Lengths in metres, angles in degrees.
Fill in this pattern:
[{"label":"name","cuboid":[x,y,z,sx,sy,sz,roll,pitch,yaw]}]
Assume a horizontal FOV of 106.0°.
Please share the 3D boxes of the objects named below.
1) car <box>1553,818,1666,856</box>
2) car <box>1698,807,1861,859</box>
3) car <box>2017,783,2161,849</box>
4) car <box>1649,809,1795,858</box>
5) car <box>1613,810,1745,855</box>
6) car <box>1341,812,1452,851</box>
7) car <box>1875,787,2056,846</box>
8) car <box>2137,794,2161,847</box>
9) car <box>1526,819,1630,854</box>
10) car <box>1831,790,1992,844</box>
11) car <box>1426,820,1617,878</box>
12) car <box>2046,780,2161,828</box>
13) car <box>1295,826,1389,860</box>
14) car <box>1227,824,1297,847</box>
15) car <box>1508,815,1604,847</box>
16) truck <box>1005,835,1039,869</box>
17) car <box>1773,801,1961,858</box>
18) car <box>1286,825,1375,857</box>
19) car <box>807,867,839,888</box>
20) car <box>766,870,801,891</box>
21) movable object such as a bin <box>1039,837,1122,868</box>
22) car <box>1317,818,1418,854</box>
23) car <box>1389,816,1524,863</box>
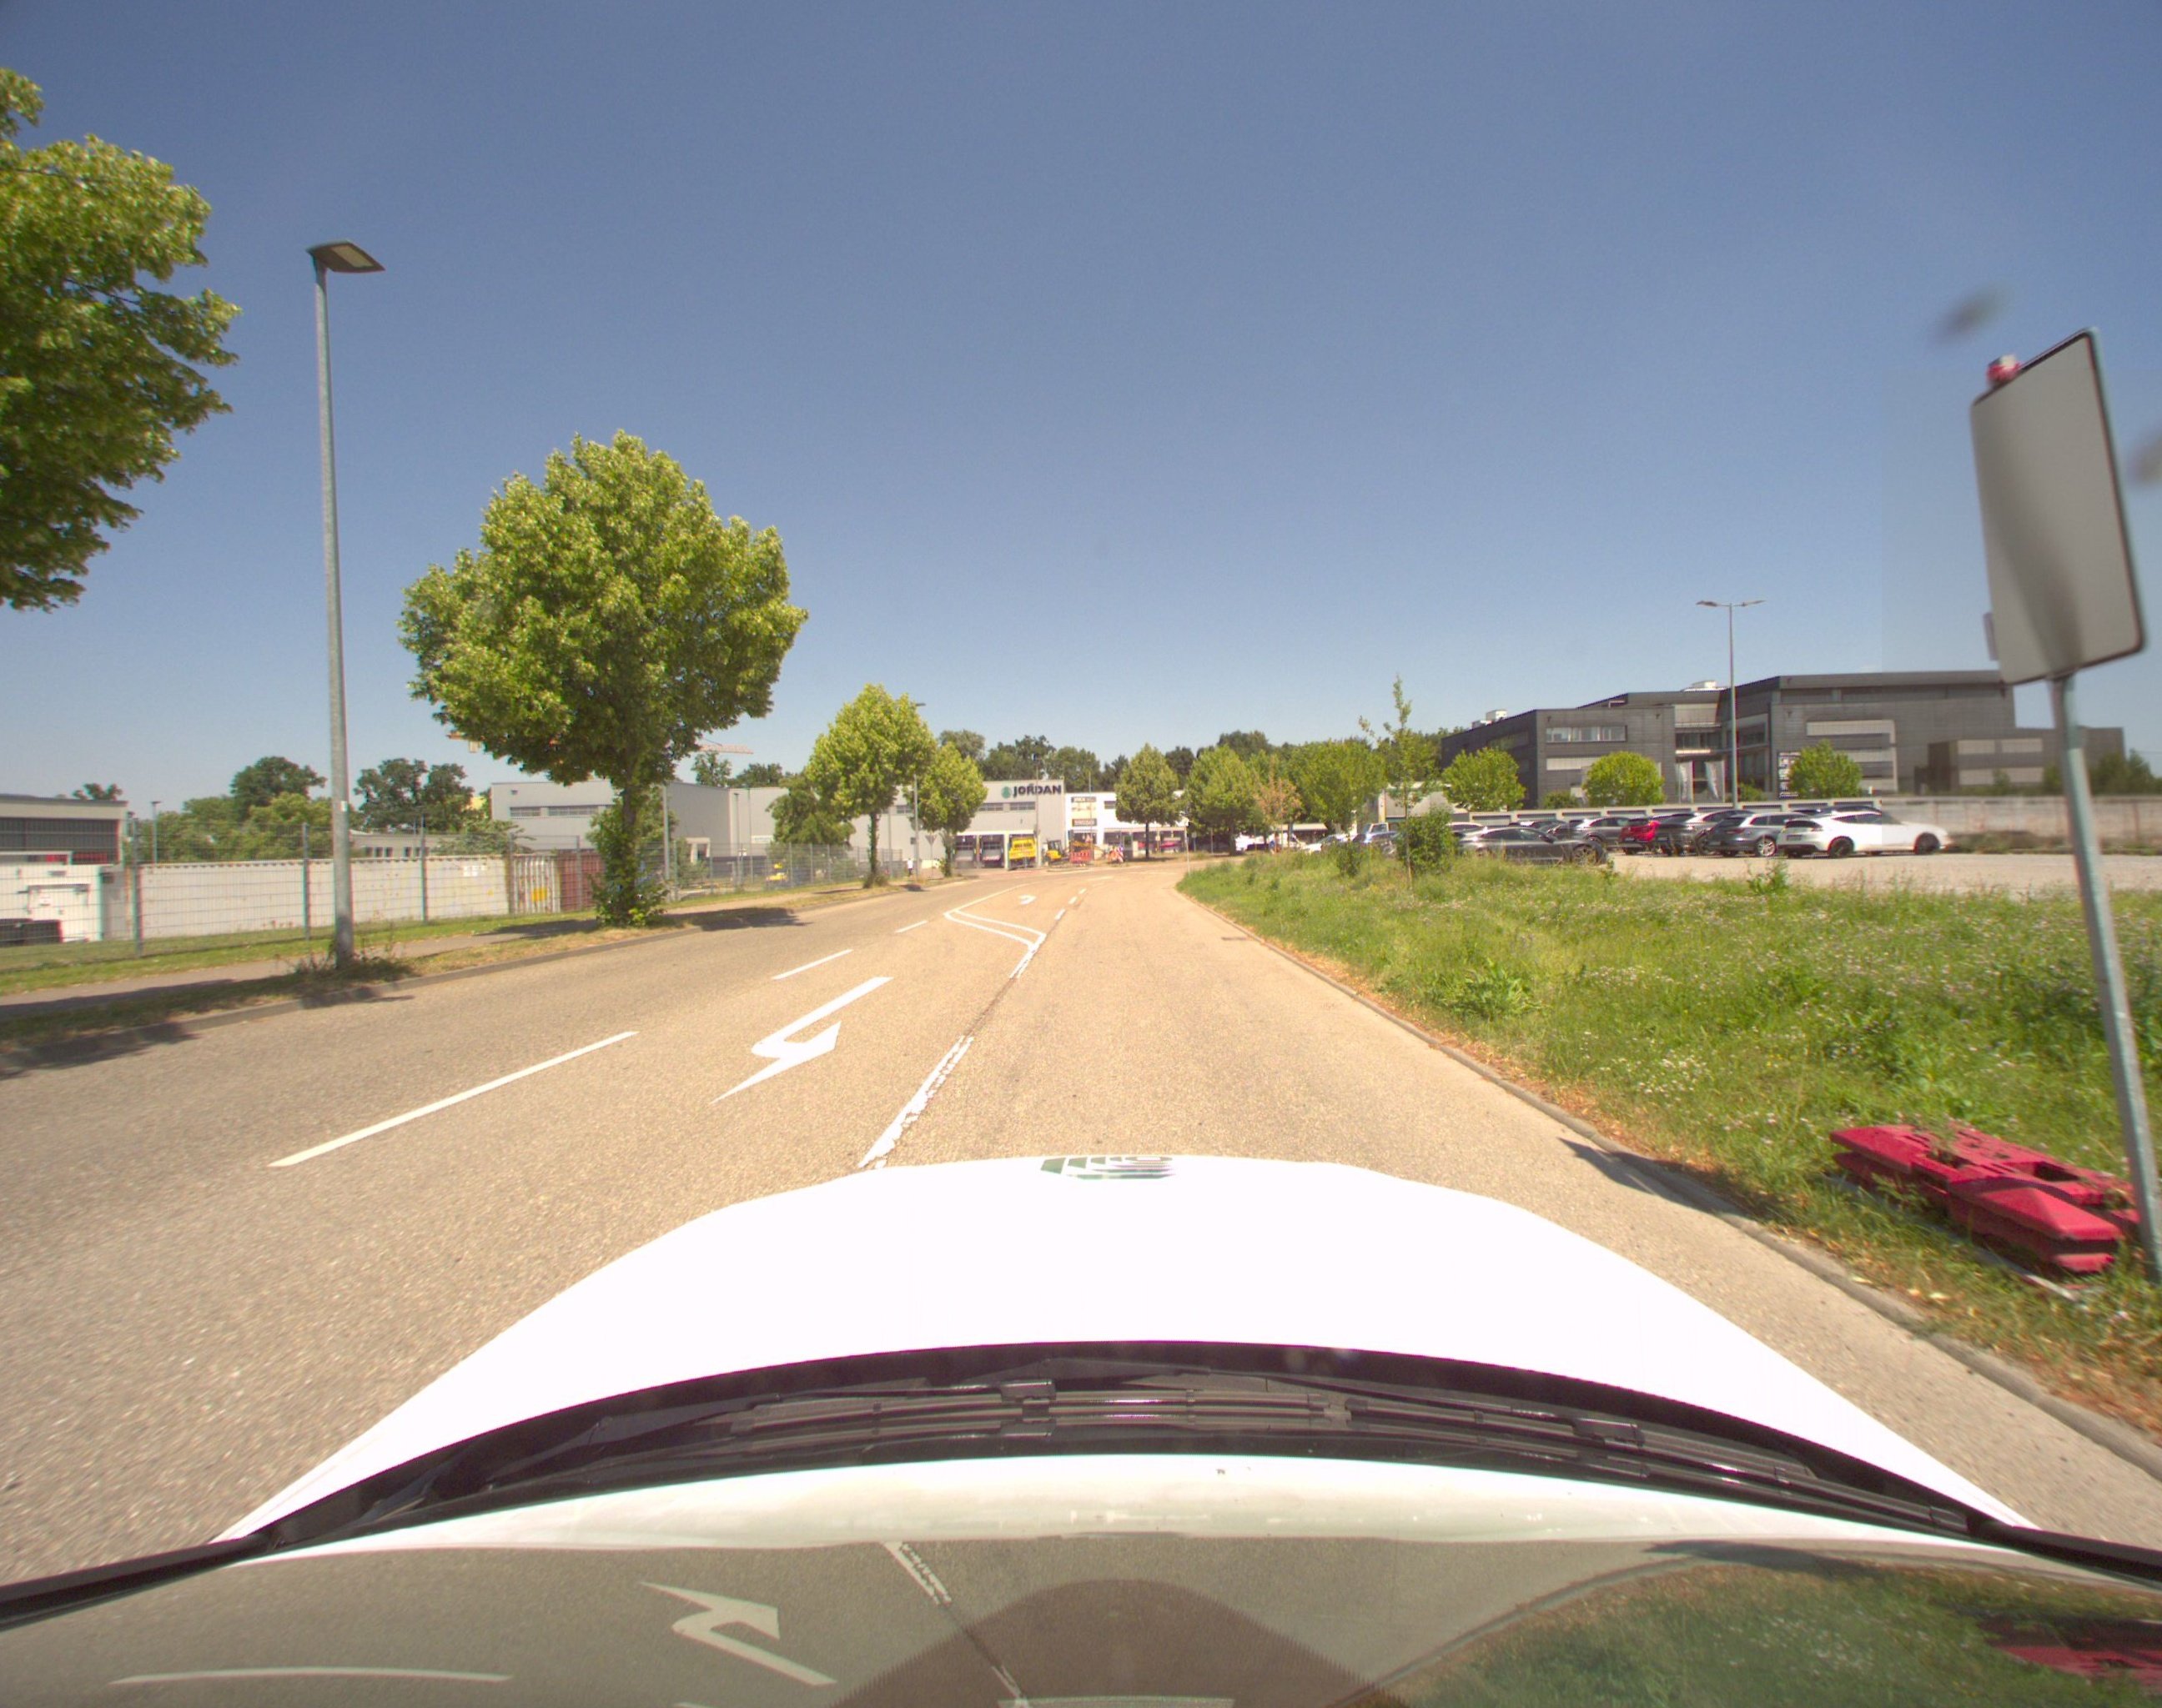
[{"label":"car","cuboid":[23.624,-0.775,36.485,3.977,1.400,1.768,-3,4,-2]},{"label":"car","cuboid":[22.954,-0.719,26.857,3.977,1.400,1.768,-3,4,-2]},{"label":"car","cuboid":[29.138,-1.096,22.790,3.977,1.595,1.768,-3,4,-2]},{"label":"car","cuboid":[23.110,-0.784,29.468,3.977,1.489,1.768,-3,4,-2]},{"label":"car","cuboid":[23.666,-0.878,32.313,3.977,1.461,1.768,-3,4,-2]},{"label":"car","cuboid":[13.649,-1.013,35.352,4.152,1.400,1.768,-3,4,-2]},{"label":"car","cuboid":[28.127,-1.209,25.973,3.977,1.595,1.768,-3,4,-2]},{"label":"car","cuboid":[28.815,-0.901,19.855,3.977,1.271,1.768,-3,4,-2]},{"label":"car","cuboid":[23.818,-0.869,39.095,3.977,1.400,1.768,-3,4,-2]},{"label":"car","cuboid":[29.060,-1.310,28.574,3.977,1.595,1.768,-3,4,-2]},{"label":"car","cuboid":[13.139,-0.178,24.507,4.683,1.400,1.924,-3,4,3]},{"label":"car","cuboid":[39.463,-1.908,30.788,3.977,1.595,1.768,-3,4,-2]},{"label":"car","cuboid":[13.186,-0.564,41.317,4.152,1.400,1.768,-3,4,-2]},{"label":"car","cuboid":[19.533,-1.984,88.040,7.139,2.088,2.003,-3,0,4]},{"label":"car","cuboid":[24.547,-1.205,42.192,3.977,1.400,1.768,-3,4,-2]},{"label":"truck","cuboid":[-5.819,-0.248,79.702,2.936,2.885,5.797,-4,4,-7]},{"label":"car","cuboid":[23.296,-0.765,24.241,3.975,1.400,1.769,-3,4,-1]},{"label":"car","cuboid":[13.240,-0.726,43.303,4.152,1.400,1.768,-3,4,-2]},{"label":"car","cuboid":[-24.765,2.255,78.248,1.990,1.551,3.994,-3,4,-5]},{"label":"car","cuboid":[-28.330,2.493,77.690,1.990,1.551,3.994,-3,4,-5]},{"label":"movable object such as a bin","cuboid":[0.055,-0.174,79.953,7.481,2.499,3.677,-3,4,9]},{"label":"car","cuboid":[13.448,-0.856,38.370,4.152,1.400,1.768,-3,4,-2]},{"label":"car","cuboid":[13.794,-0.559,30.046,4.152,1.400,1.768,-3,4,-2]}]
